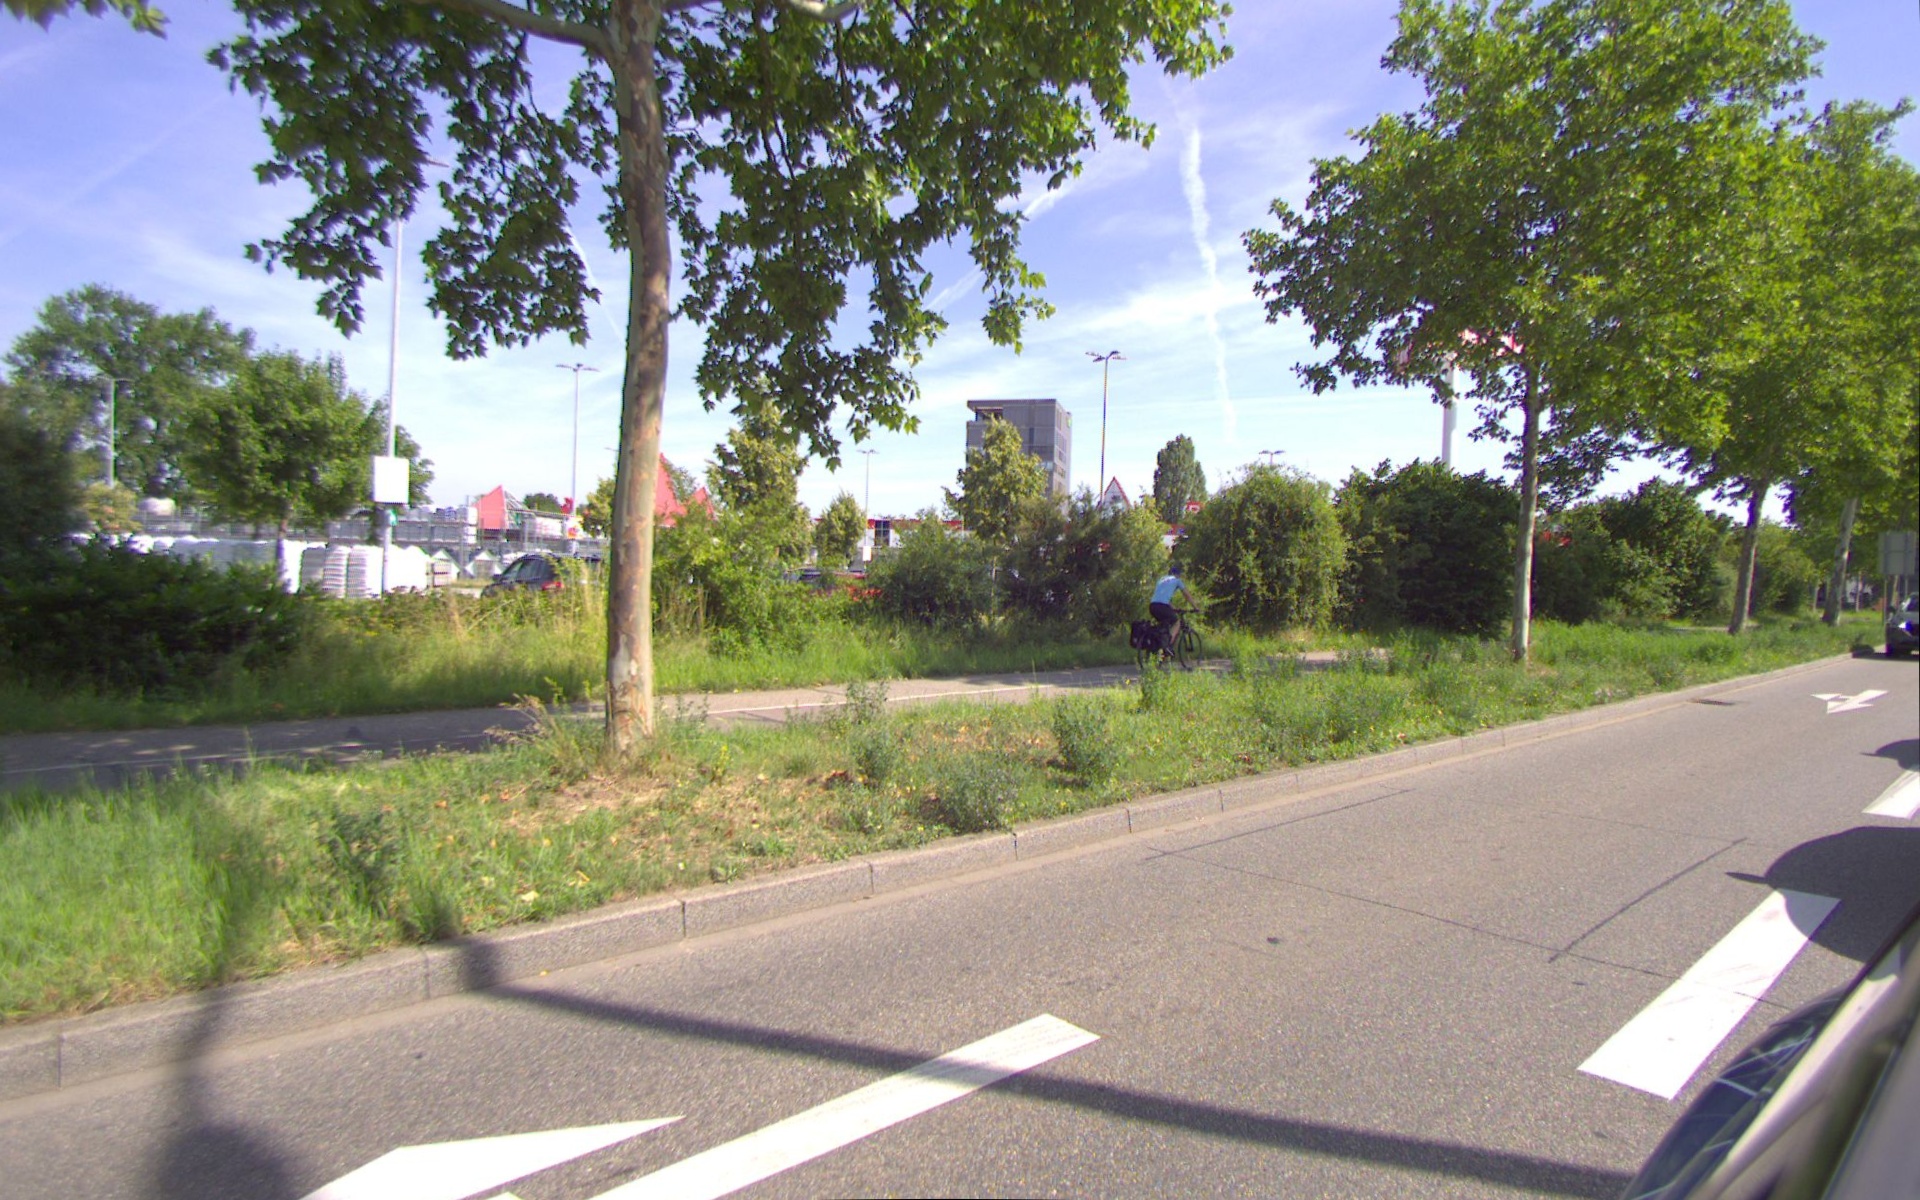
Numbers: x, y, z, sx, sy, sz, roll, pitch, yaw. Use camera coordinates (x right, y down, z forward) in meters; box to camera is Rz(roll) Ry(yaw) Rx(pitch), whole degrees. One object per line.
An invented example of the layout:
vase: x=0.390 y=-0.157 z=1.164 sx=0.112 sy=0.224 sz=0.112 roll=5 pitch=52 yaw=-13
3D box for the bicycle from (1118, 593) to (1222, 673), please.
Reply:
bicycle: x=3.564 y=0.525 z=17.090 sx=1.900 sy=1.252 sz=0.686 roll=0 pitch=2 yaw=-41

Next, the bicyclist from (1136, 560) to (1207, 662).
bicyclist: x=3.577 y=0.163 z=17.087 sx=0.984 sy=1.651 sz=0.686 roll=0 pitch=2 yaw=-41

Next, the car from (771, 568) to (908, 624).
car: x=-3.238 y=-0.143 z=26.817 sx=3.553 sy=1.316 sz=1.740 roll=3 pitch=2 yaw=43

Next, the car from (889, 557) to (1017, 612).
car: x=-0.197 y=-0.523 z=32.588 sx=3.801 sy=1.604 sz=1.844 roll=2 pitch=2 yaw=11

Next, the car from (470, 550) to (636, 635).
car: x=-8.644 y=-0.211 z=21.355 sx=3.850 sy=1.604 sz=1.821 roll=3 pitch=2 yaw=43

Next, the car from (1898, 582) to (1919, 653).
car: x=24.573 y=0.401 z=24.922 sx=4.418 sy=1.680 sz=1.768 roll=0 pitch=0 yaw=-42
